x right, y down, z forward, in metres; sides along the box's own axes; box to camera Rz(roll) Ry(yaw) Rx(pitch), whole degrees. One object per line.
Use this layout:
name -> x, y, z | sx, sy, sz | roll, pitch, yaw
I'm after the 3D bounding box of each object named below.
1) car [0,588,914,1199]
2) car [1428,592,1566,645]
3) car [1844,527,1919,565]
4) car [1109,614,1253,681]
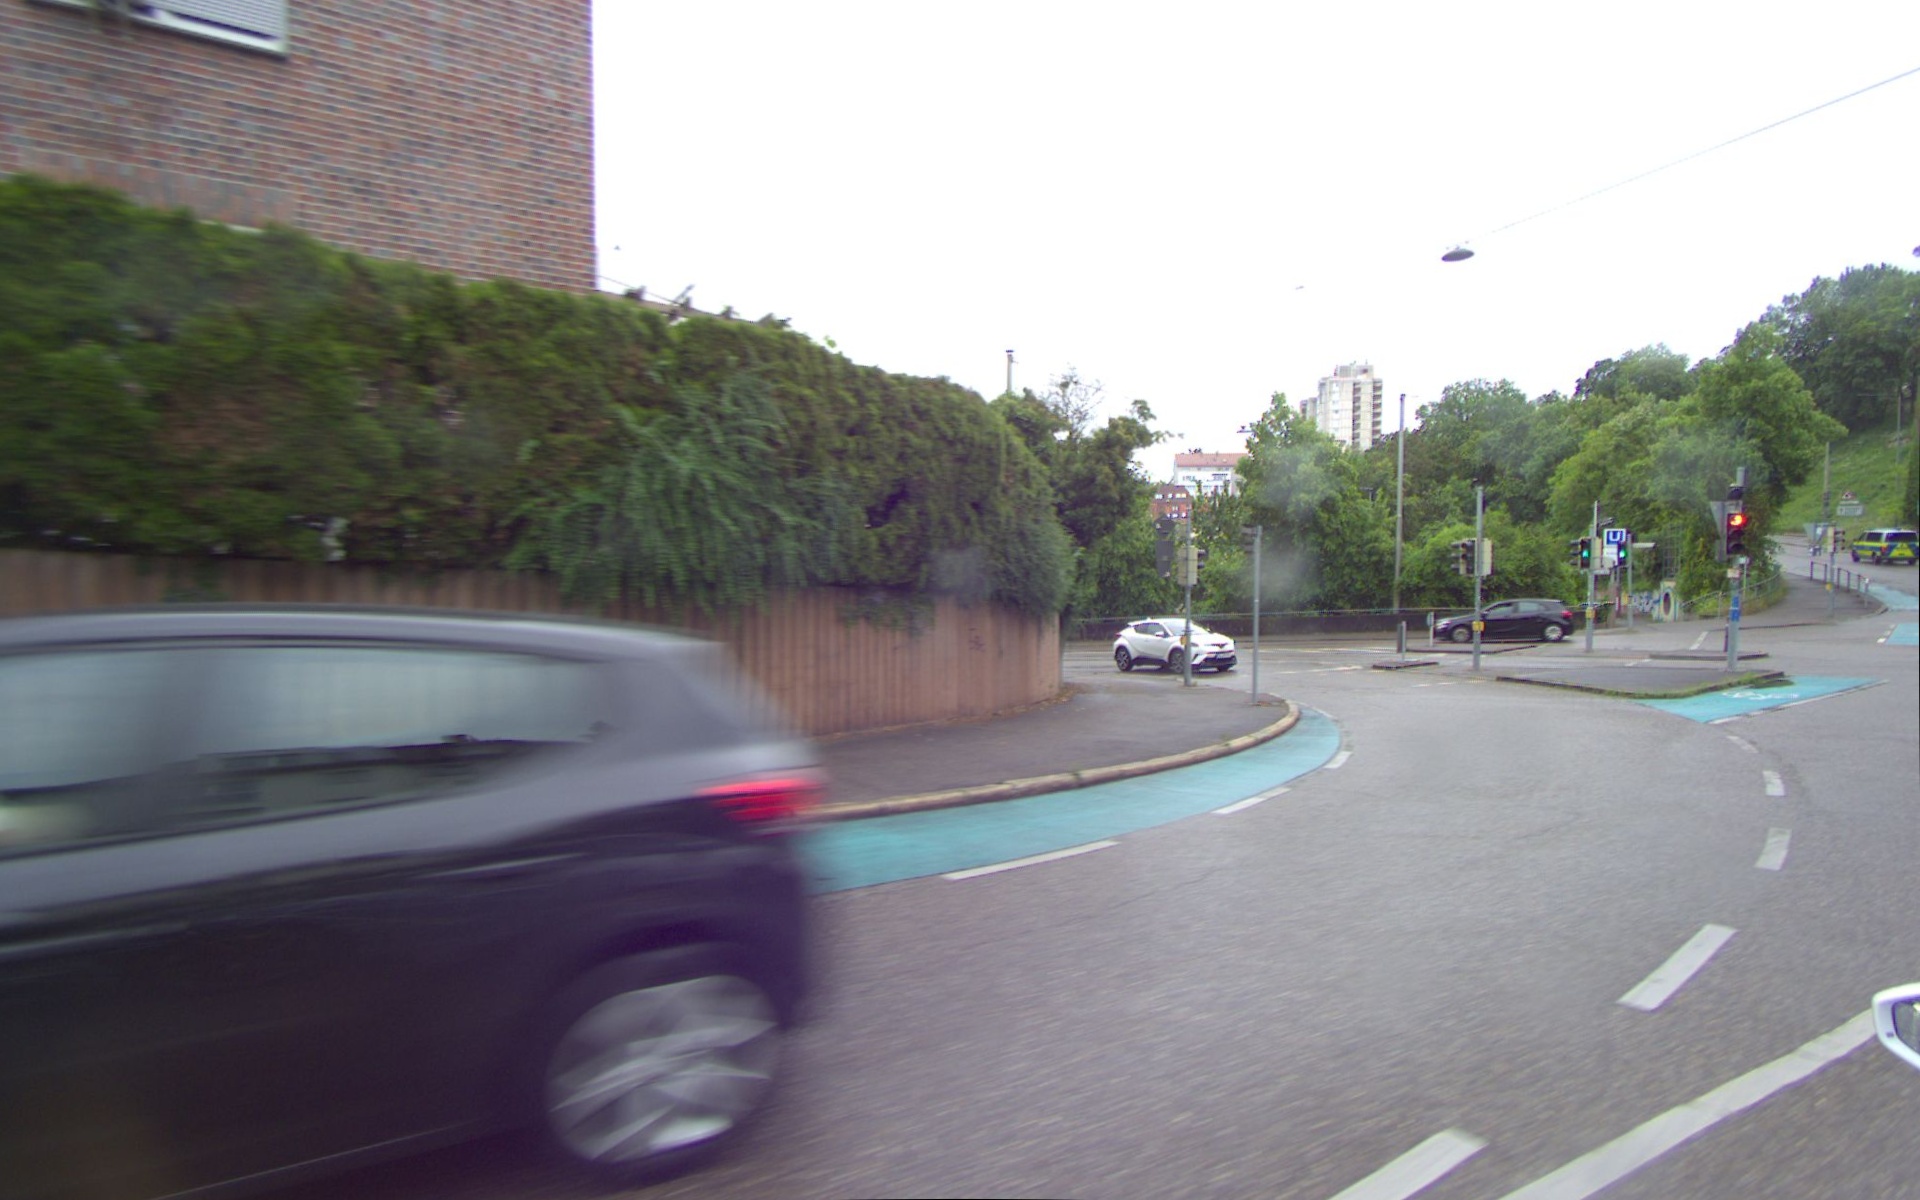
car -> -2.259, 0.768, 2.595 | 3.955, 1.571, 1.732 | 1, -1, -32
car -> 17.862, 0.634, 33.566 | 3.926, 1.571, 1.744 | -2, 2, 27
car -> 54.437, -3.149, 59.170 | 2.272, 1.965, 4.322 | -2, 0, 24
car -> 6.390, 1.316, 29.528 | 1.973, 1.696, 4.137 | -3, 1, -26
